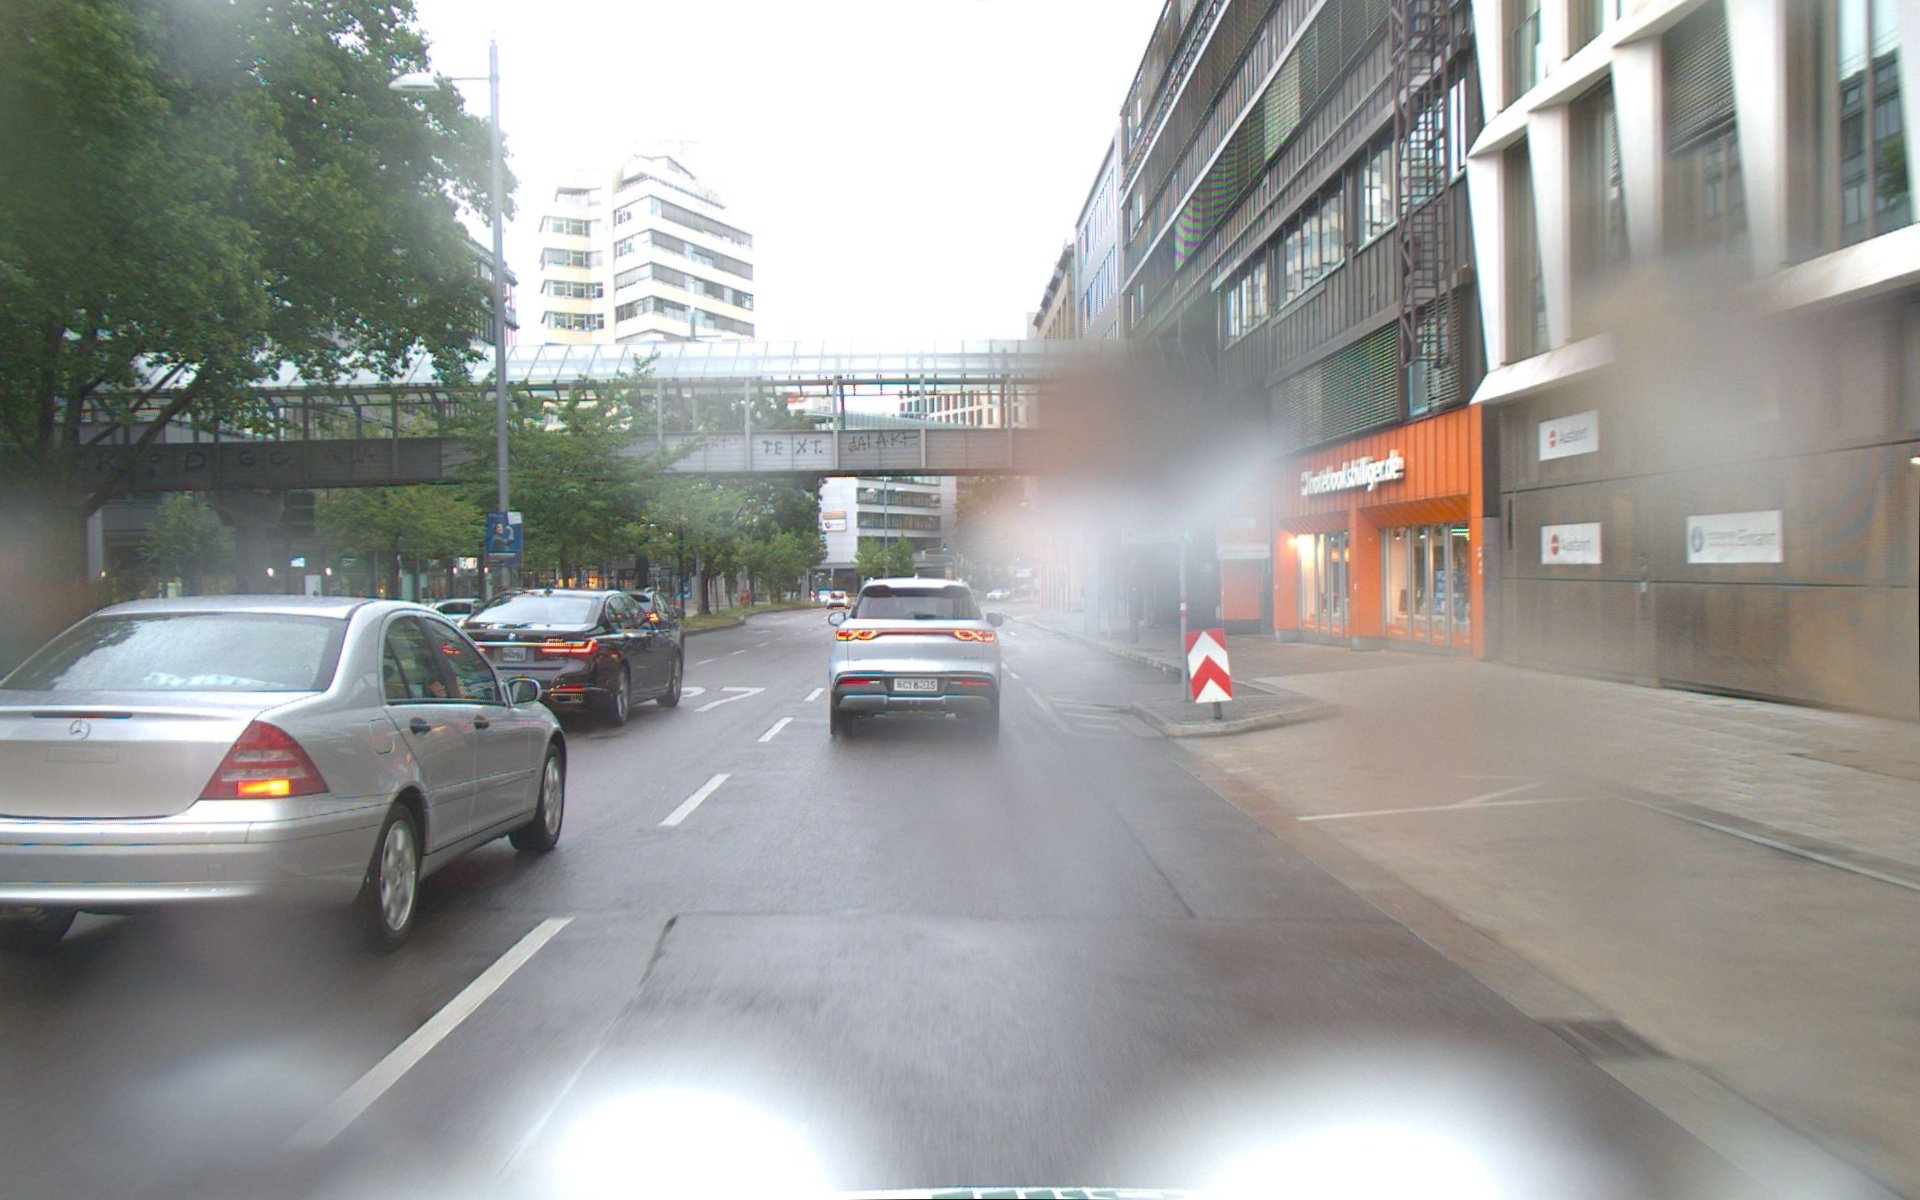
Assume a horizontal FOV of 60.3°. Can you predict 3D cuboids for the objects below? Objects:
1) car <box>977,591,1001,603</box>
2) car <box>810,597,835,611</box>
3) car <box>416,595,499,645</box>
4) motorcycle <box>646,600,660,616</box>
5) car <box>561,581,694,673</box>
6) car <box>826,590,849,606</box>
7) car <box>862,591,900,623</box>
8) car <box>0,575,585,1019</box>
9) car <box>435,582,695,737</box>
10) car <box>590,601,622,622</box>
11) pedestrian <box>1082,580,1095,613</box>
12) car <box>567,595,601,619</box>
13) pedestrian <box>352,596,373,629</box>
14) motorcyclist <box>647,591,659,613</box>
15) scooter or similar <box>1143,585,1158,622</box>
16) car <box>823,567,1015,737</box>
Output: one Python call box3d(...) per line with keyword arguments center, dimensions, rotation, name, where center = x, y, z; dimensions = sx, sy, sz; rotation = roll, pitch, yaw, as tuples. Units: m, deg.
box3d(center=(3.801, -0.386, 217.641), dimensions=(1.551, 1.565, 3.993), rotation=(0, 0, 29), name="car")
box3d(center=(-15.255, 0.472, 183.561), dimensions=(1.589, 1.518, 4.310), rotation=(-1, -1, 10), name="car")
box3d(center=(-16.391, 0.637, 54.143), dimensions=(1.629, 1.489, 4.078), rotation=(-3, 0, -3), name="car")
box3d(center=(-20.458, 0.546, 110.189), dimensions=(0.572, 1.039, 1.805), rotation=(-1, 0, -1), name="motorcycle")
box3d(center=(-5.871, 0.472, 29.599), dimensions=(1.738, 1.482, 3.997), rotation=(-1, -1, -3), name="car")
box3d(center=(-10.281, -0.184, 139.397), dimensions=(1.619, 1.365, 4.000), rotation=(0, 0, 0), name="car")
box3d(center=(-4.184, 0.355, 87.744), dimensions=(1.774, 1.606, 4.000), rotation=(0, 0, 1), name="car")
box3d(center=(-3.052, 0.698, 7.802), dimensions=(1.638, 1.505, 4.359), rotation=(0, -1, -1), name="car")
box3d(center=(-4.398, 0.581, 19.238), dimensions=(1.834, 1.504, 4.879), rotation=(0, 1, 0), name="car")
box3d(center=(-25.686, 0.807, 120.079), dimensions=(1.591, 1.486, 3.960), rotation=(0, 0, -3), name="car")
box3d(center=(7.020, -0.174, 90.377), dimensions=(0.622, 1.803, 0.789), rotation=(-1, -1, -1), name="pedestrian")
box3d(center=(-25.901, 0.488, 114.114), dimensions=(1.591, 1.639, 4.229), rotation=(0, 0, -3), name="car")
box3d(center=(-32.413, 0.687, 89.734), dimensions=(0.728, 1.745, 1.056), rotation=(-1, 0, -2), name="pedestrian")
box3d(center=(-20.475, 0.119, 110.227), dimensions=(0.625, 1.443, 0.970), rotation=(-1, -1, -1), name="motorcyclist")
box3d(center=(6.614, 0.130, 57.420), dimensions=(0.342, 1.278, 1.394), rotation=(-1, 0, -1), name="scooter or similar")
box3d(center=(-0.444, 0.524, 18.318), dimensions=(1.862, 1.650, 3.999), rotation=(1, 0, -1), name="car")
